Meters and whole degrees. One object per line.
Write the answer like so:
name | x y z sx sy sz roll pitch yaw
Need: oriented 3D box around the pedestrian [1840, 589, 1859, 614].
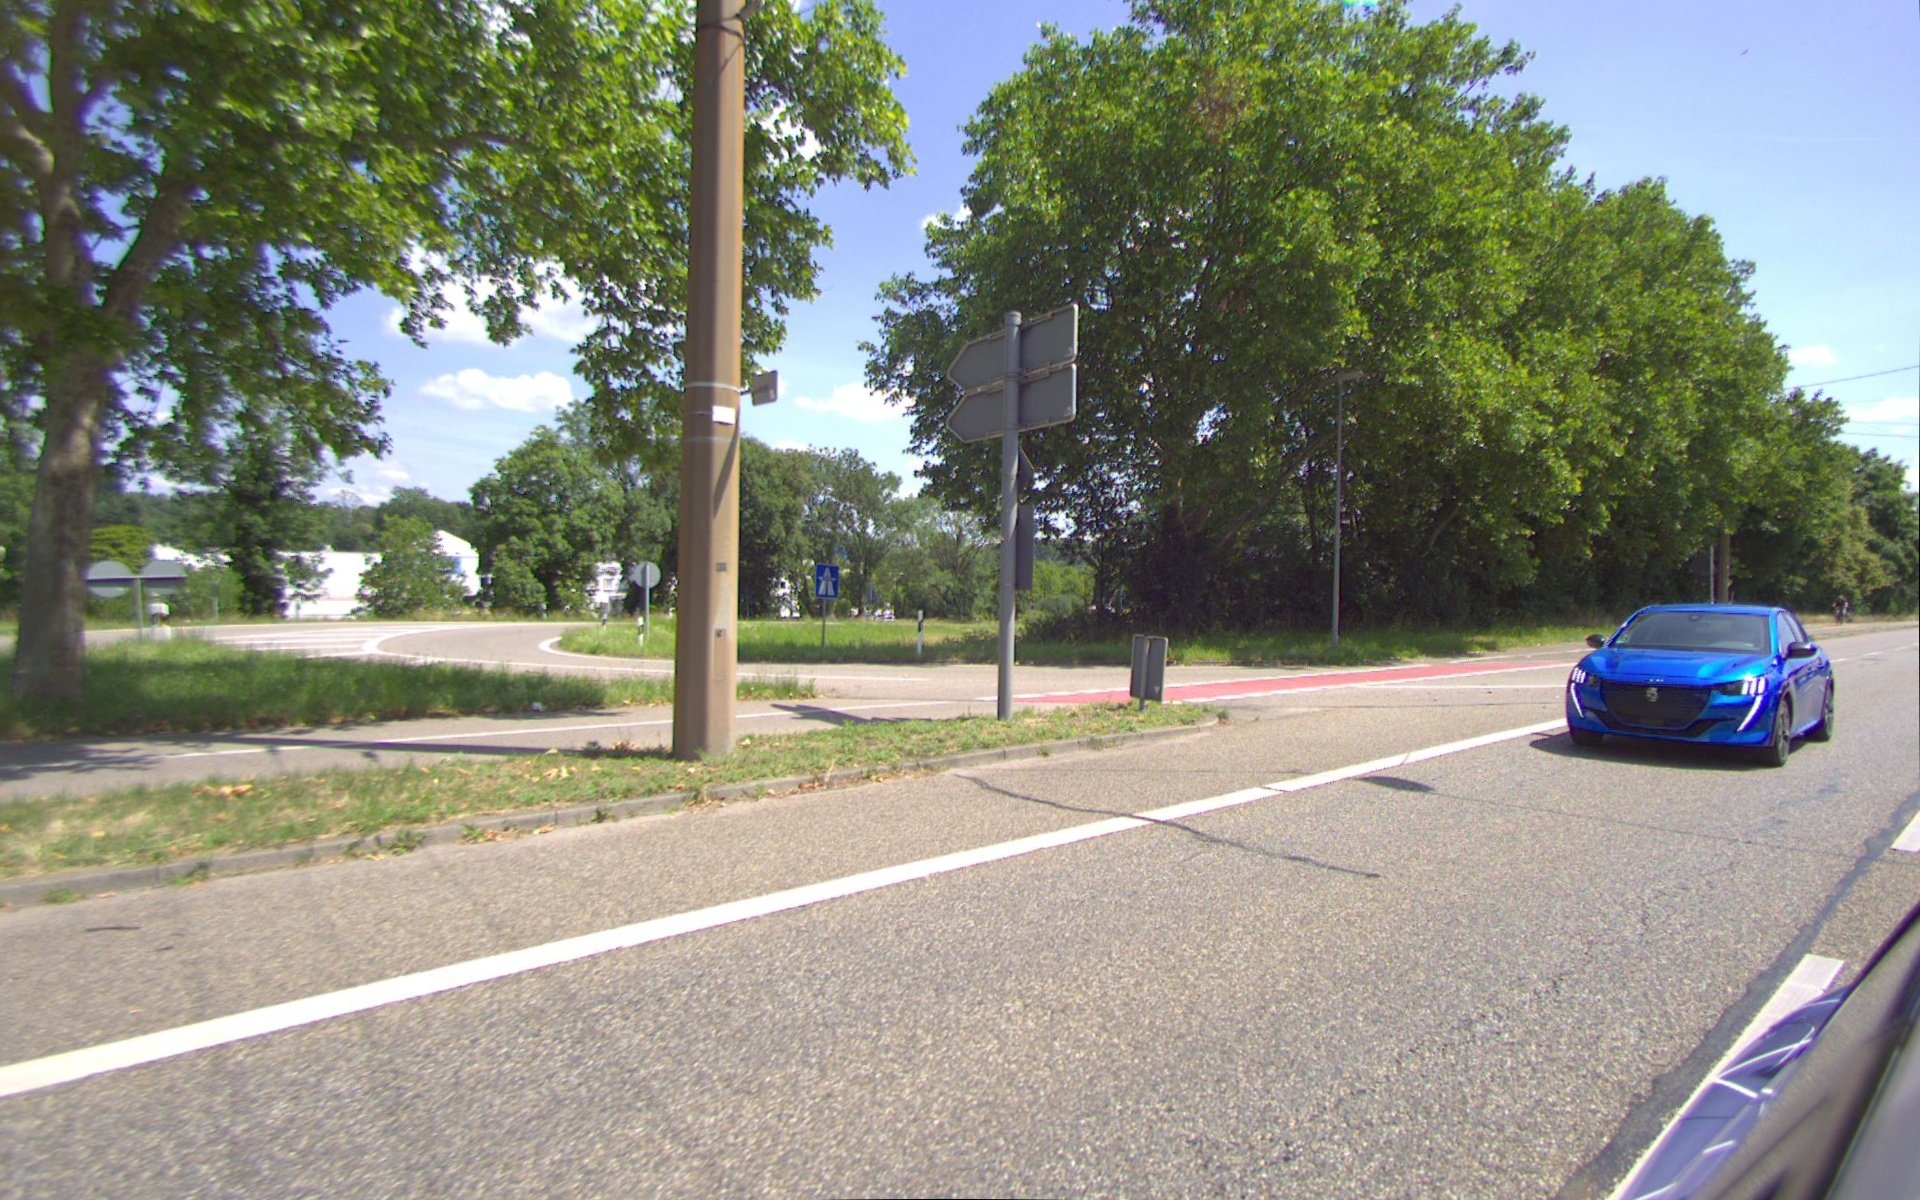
pedestrian | 50.065 0.081 56.972 1.032 1.391 0.629 0 1 -41

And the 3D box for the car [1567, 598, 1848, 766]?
car | 7.811 0.693 10.454 3.680 1.423 1.658 0 0 -42

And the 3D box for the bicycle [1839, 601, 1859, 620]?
bicycle | 50.016 0.565 56.928 1.816 1.037 0.560 0 2 -41
